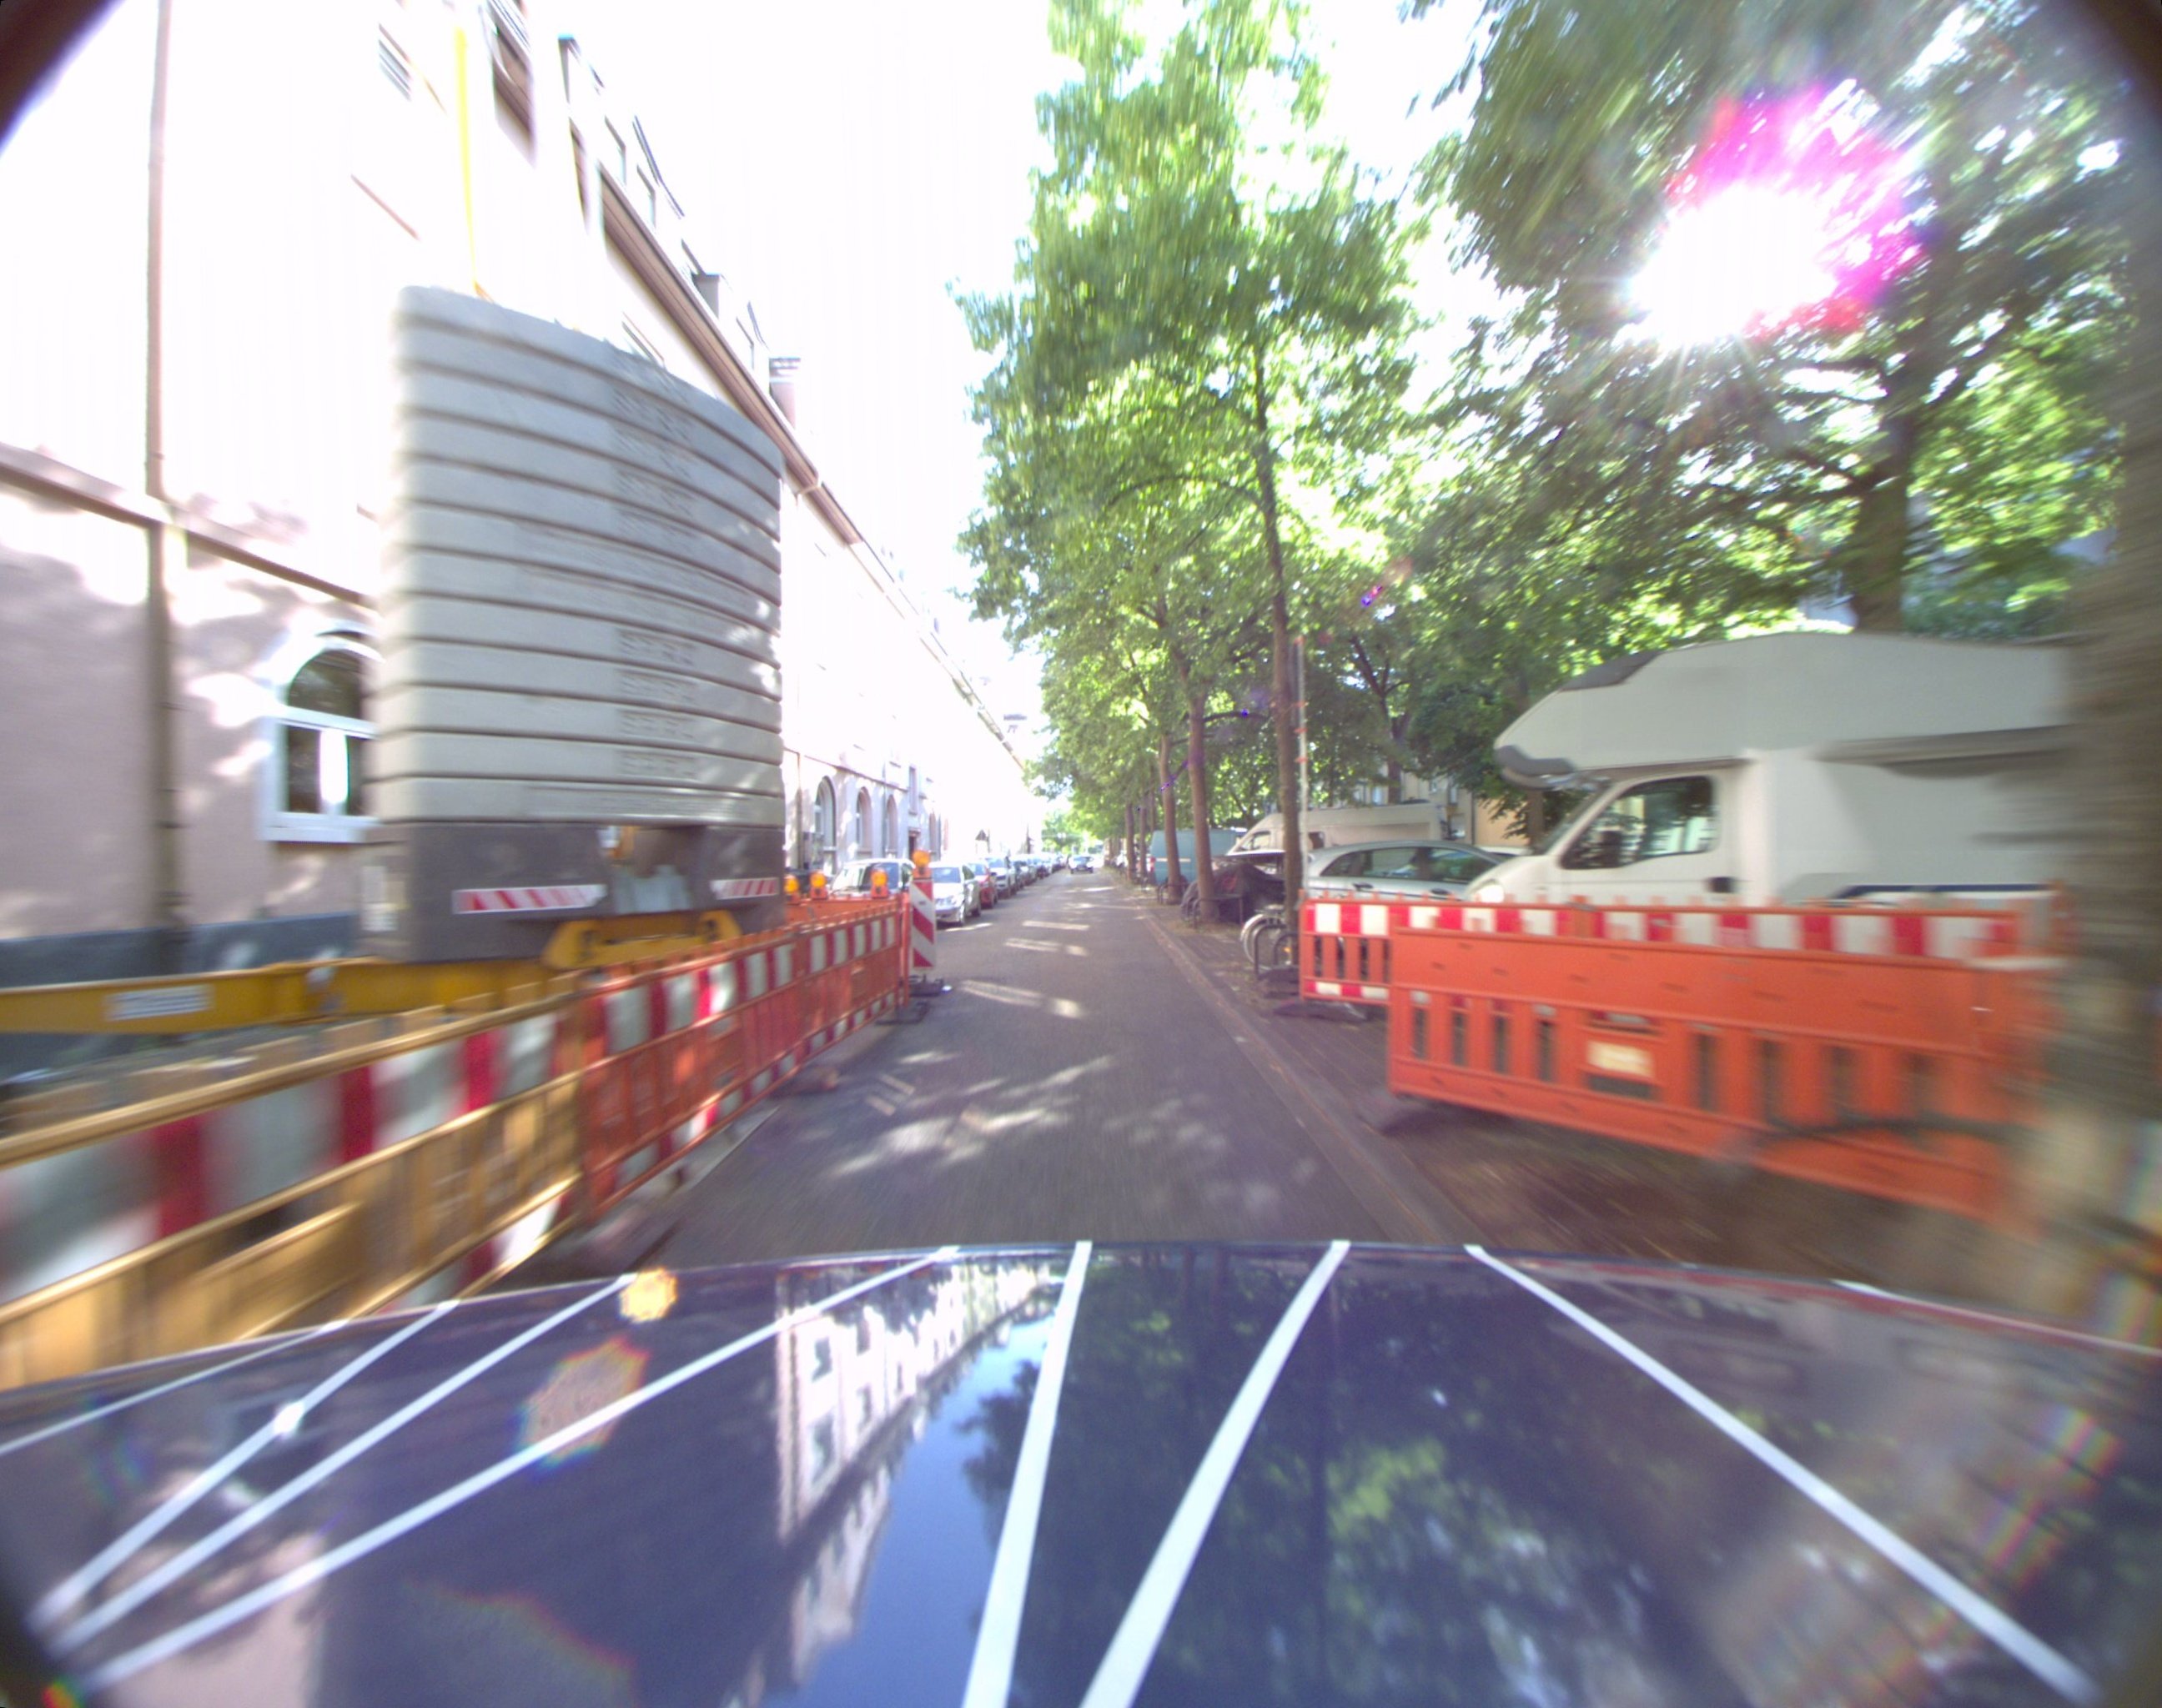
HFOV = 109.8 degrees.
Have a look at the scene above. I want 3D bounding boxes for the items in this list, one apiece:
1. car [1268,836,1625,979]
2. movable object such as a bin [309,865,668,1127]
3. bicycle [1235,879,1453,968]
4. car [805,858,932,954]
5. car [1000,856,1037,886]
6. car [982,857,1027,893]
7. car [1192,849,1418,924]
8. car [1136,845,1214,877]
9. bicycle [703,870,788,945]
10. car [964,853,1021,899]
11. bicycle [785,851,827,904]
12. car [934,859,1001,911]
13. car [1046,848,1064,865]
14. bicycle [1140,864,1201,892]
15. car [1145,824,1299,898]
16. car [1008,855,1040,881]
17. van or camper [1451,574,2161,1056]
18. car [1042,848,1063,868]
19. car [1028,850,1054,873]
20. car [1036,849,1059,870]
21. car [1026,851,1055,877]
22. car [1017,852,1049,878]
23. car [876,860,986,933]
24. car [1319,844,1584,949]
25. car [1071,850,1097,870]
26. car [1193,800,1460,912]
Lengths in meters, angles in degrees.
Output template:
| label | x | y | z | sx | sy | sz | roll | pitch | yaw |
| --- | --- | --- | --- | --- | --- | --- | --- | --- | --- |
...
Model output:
| label | x | y | z | sx | sy | sz | roll | pitch | yaw |
| --- | --- | --- | --- | --- | --- | --- | --- | --- | --- |
| car | 4.721 | 0.606 | 10.225 | 3.989 | 1.607 | 1.800 | 0 | 1 | 26 |
| movable object such as a bin | -4.425 | 0.864 | 5.715 | 1.872 | 1.518 | 1.631 | 0 | 1 | 35 |
| bicycle | 3.054 | 0.820 | 9.015 | 2.379 | 0.972 | 0.502 | -2 | 0 | 10 |
| car | -3.793 | 0.868 | 14.014 | 1.490 | 1.548 | 2.969 | 0 | 0 | 0 |
| car | -3.178 | 0.857 | 39.142 | 1.577 | 1.428 | 3.606 | 0 | 0 | 0 |
| car | -3.402 | 0.895 | 34.393 | 1.671 | 1.503 | 3.606 | 0 | 0 | 0 |
| car | 4.919 | 0.646 | 16.869 | 4.512 | 1.475 | 1.741 | 0 | 1 | 31 |
| car | 4.539 | 0.329 | 36.738 | 3.265 | 1.408 | 1.750 | -1 | 1 | 32 |
| bicycle | -6.498 | 0.995 | 14.866 | 0.542 | 1.275 | 2.343 | -1 | 1 | 1 |
| car | -3.252 | 0.775 | 28.722 | 1.671 | 1.590 | 4.273 | 0 | 0 | 0 |
| bicycle | -6.540 | 0.530 | 18.130 | 0.427 | 1.195 | 1.530 | 0 | 0 | 0 |
| car | -3.448 | 0.897 | 23.698 | 1.671 | 1.419 | 3.971 | 0 | 0 | -3 |
| car | -2.823 | 0.220 | 82.570 | 1.863 | 1.772 | 3.999 | 0 | 0 | 0 |
| bicycle | 3.182 | 0.863 | 26.999 | 2.149 | 0.964 | 0.609 | 0 | 1 | 8 |
| car | 4.389 | 0.201 | 23.748 | 4.386 | 2.155 | 1.774 | 0 | 1 | 28 |
| car | -3.289 | 0.793 | 44.221 | 1.577 | 1.446 | 3.402 | 0 | 0 | 0 |
| van or camper | 6.457 | -0.239 | 6.220 | 6.017 | 2.984 | 2.404 | 0 | 1 | 29 |
| car | -2.651 | 0.361 | 72.516 | 1.863 | 1.772 | 3.999 | 0 | 0 | 0 |
| car | -3.134 | 0.556 | 60.261 | 1.863 | 1.772 | 3.999 | 0 | 0 | 0 |
| car | -2.905 | 0.456 | 66.604 | 1.863 | 1.772 | 3.999 | 0 | 0 | 0 |
| car | -2.827 | 0.679 | 54.310 | 1.863 | 1.772 | 3.999 | 0 | 0 | 0 |
| car | -3.081 | 0.668 | 49.350 | 1.863 | 1.584 | 3.999 | 0 | 0 | 0 |
| car | -3.410 | 0.903 | 18.006 | 1.765 | 1.455 | 4.243 | 0 | 0 | 0 |
| car | 6.207 | 0.615 | 12.878 | 3.814 | 1.535 | 1.685 | 0 | 1 | 35 |
| car | 0.275 | 0.475 | 61.334 | 1.792 | 1.510 | 4.001 | -3 | 0 | 3 |
| car | 6.170 | 0.044 | 19.344 | 6.186 | 2.497 | 2.142 | 0 | 1 | 28 |
